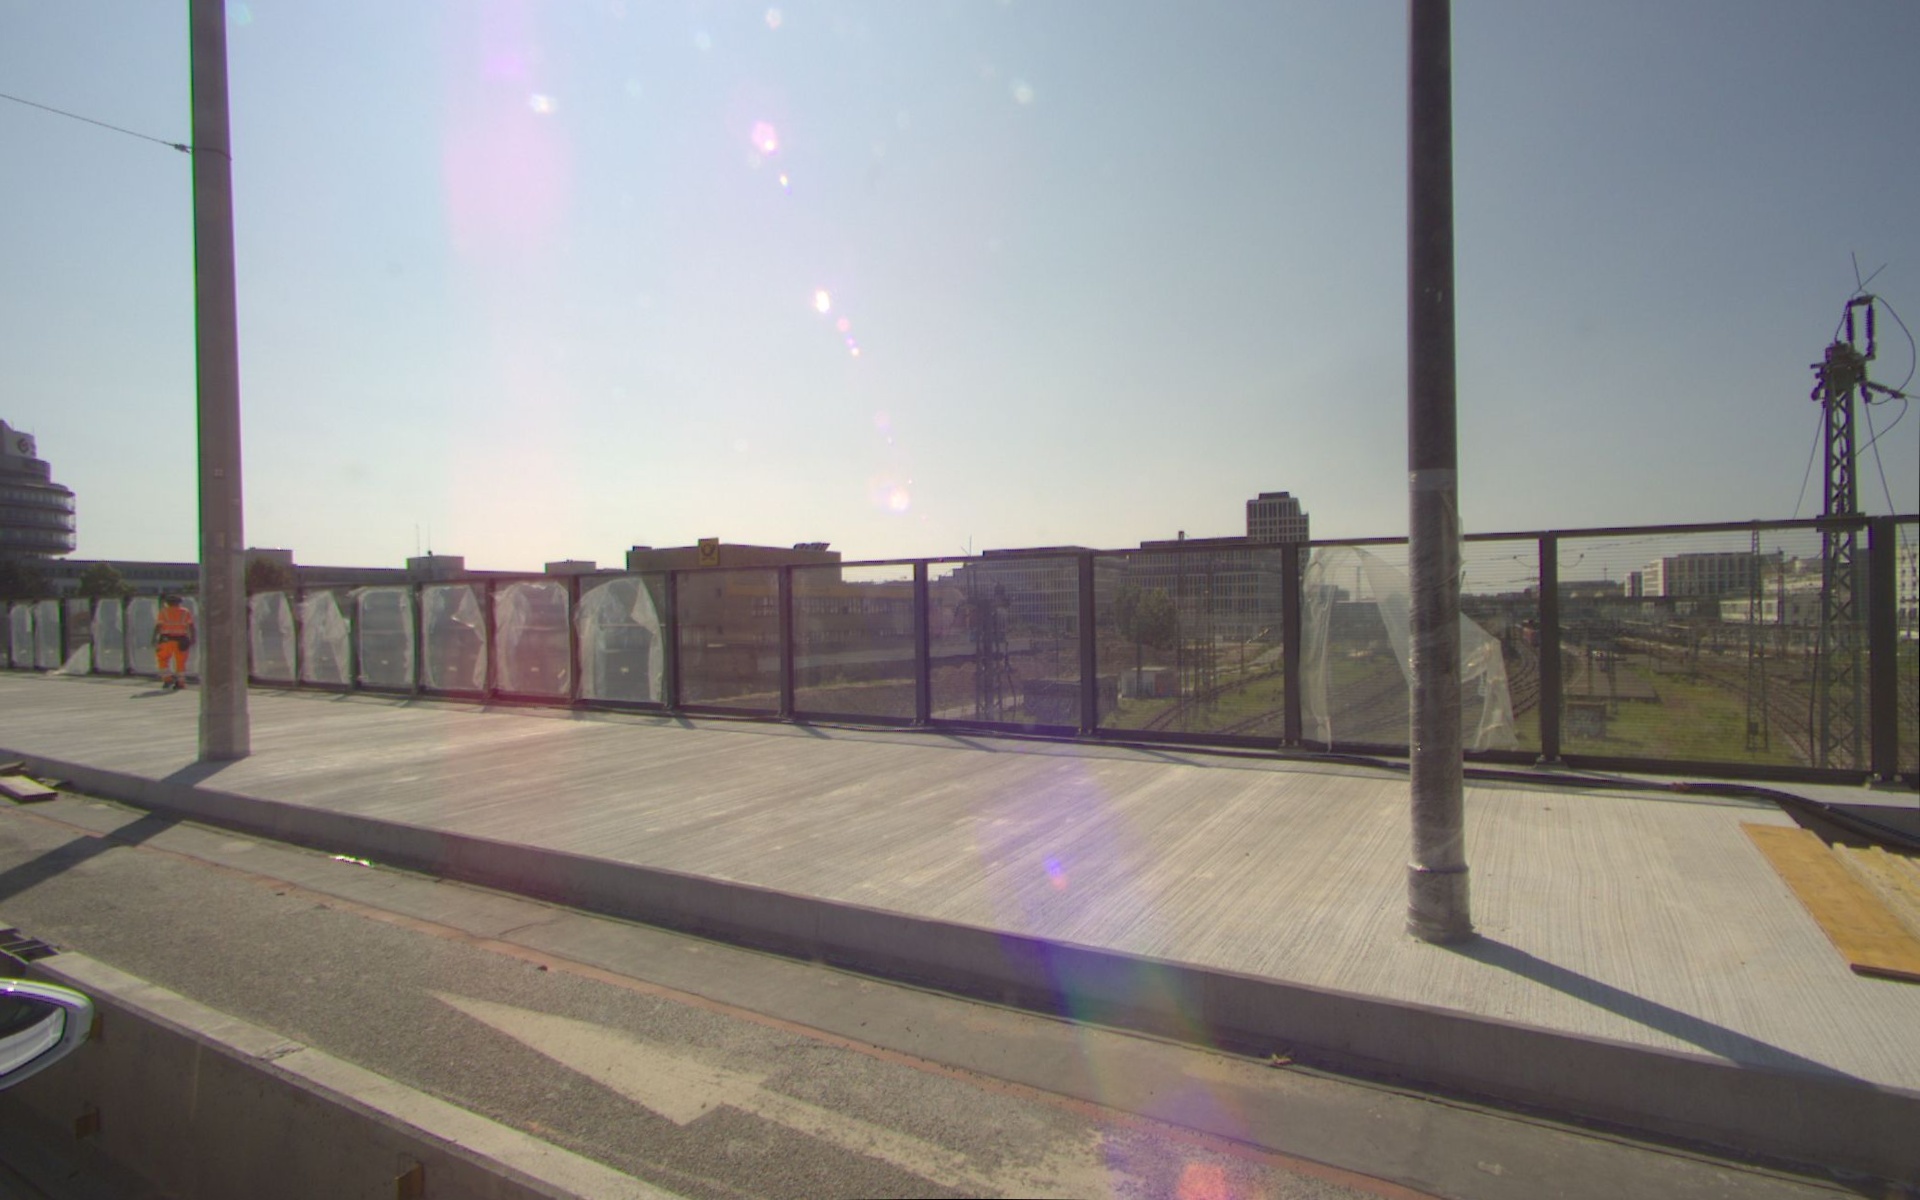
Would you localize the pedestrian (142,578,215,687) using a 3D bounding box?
[{"bbox_3d":[-14.494,0.588,18.578,0.788,1.961,0.780,-1,1,32],"label":"pedestrian"}]
